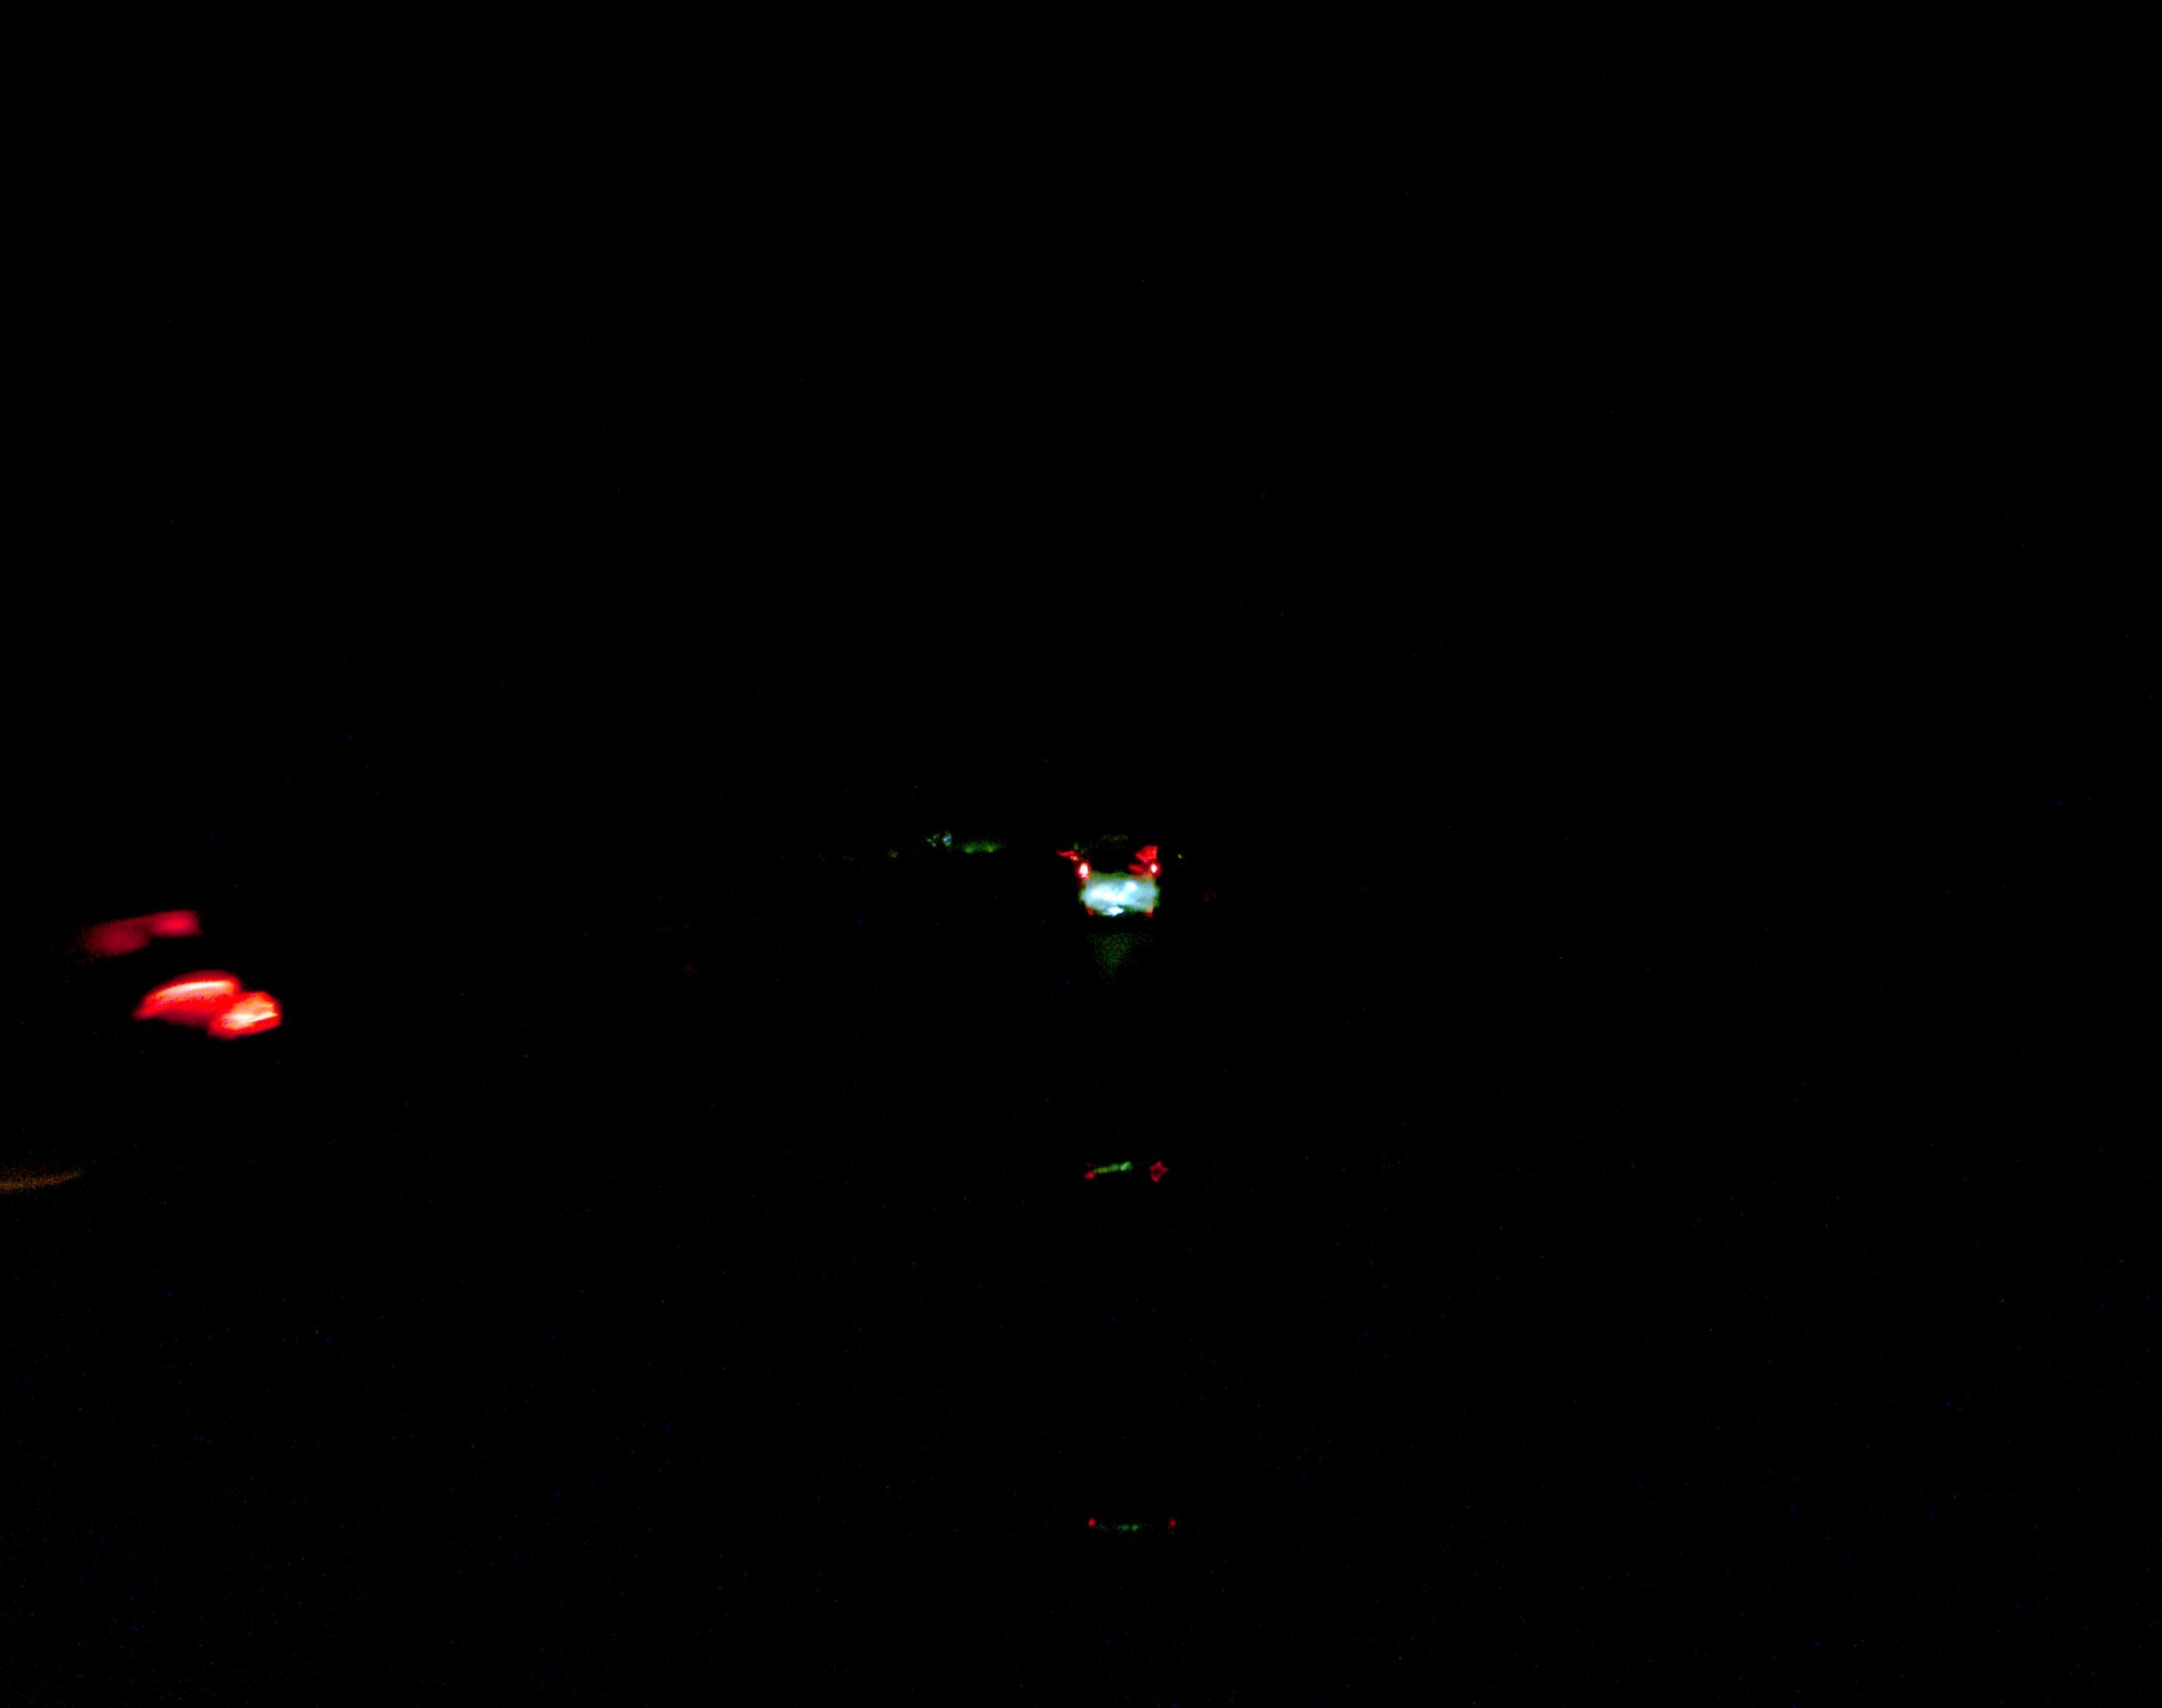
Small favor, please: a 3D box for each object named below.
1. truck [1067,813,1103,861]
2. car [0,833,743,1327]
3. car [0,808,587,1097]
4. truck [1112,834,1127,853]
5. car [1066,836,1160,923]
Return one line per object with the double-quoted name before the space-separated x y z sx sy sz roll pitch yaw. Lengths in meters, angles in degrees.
"truck" 0.588 -1.978 100.765 4.152 5.544 13.078 0 0 2
"car" -3.878 0.744 4.771 1.908 1.594 4.235 0 0 2
"car" -7.115 0.621 7.483 1.986 1.777 4.890 0 0 2
"truck" 10.322 -2.803 221.112 3.810 4.915 11.609 0 0 1
"car" 0.773 0.538 19.400 1.945 1.792 5.127 0 0 2
